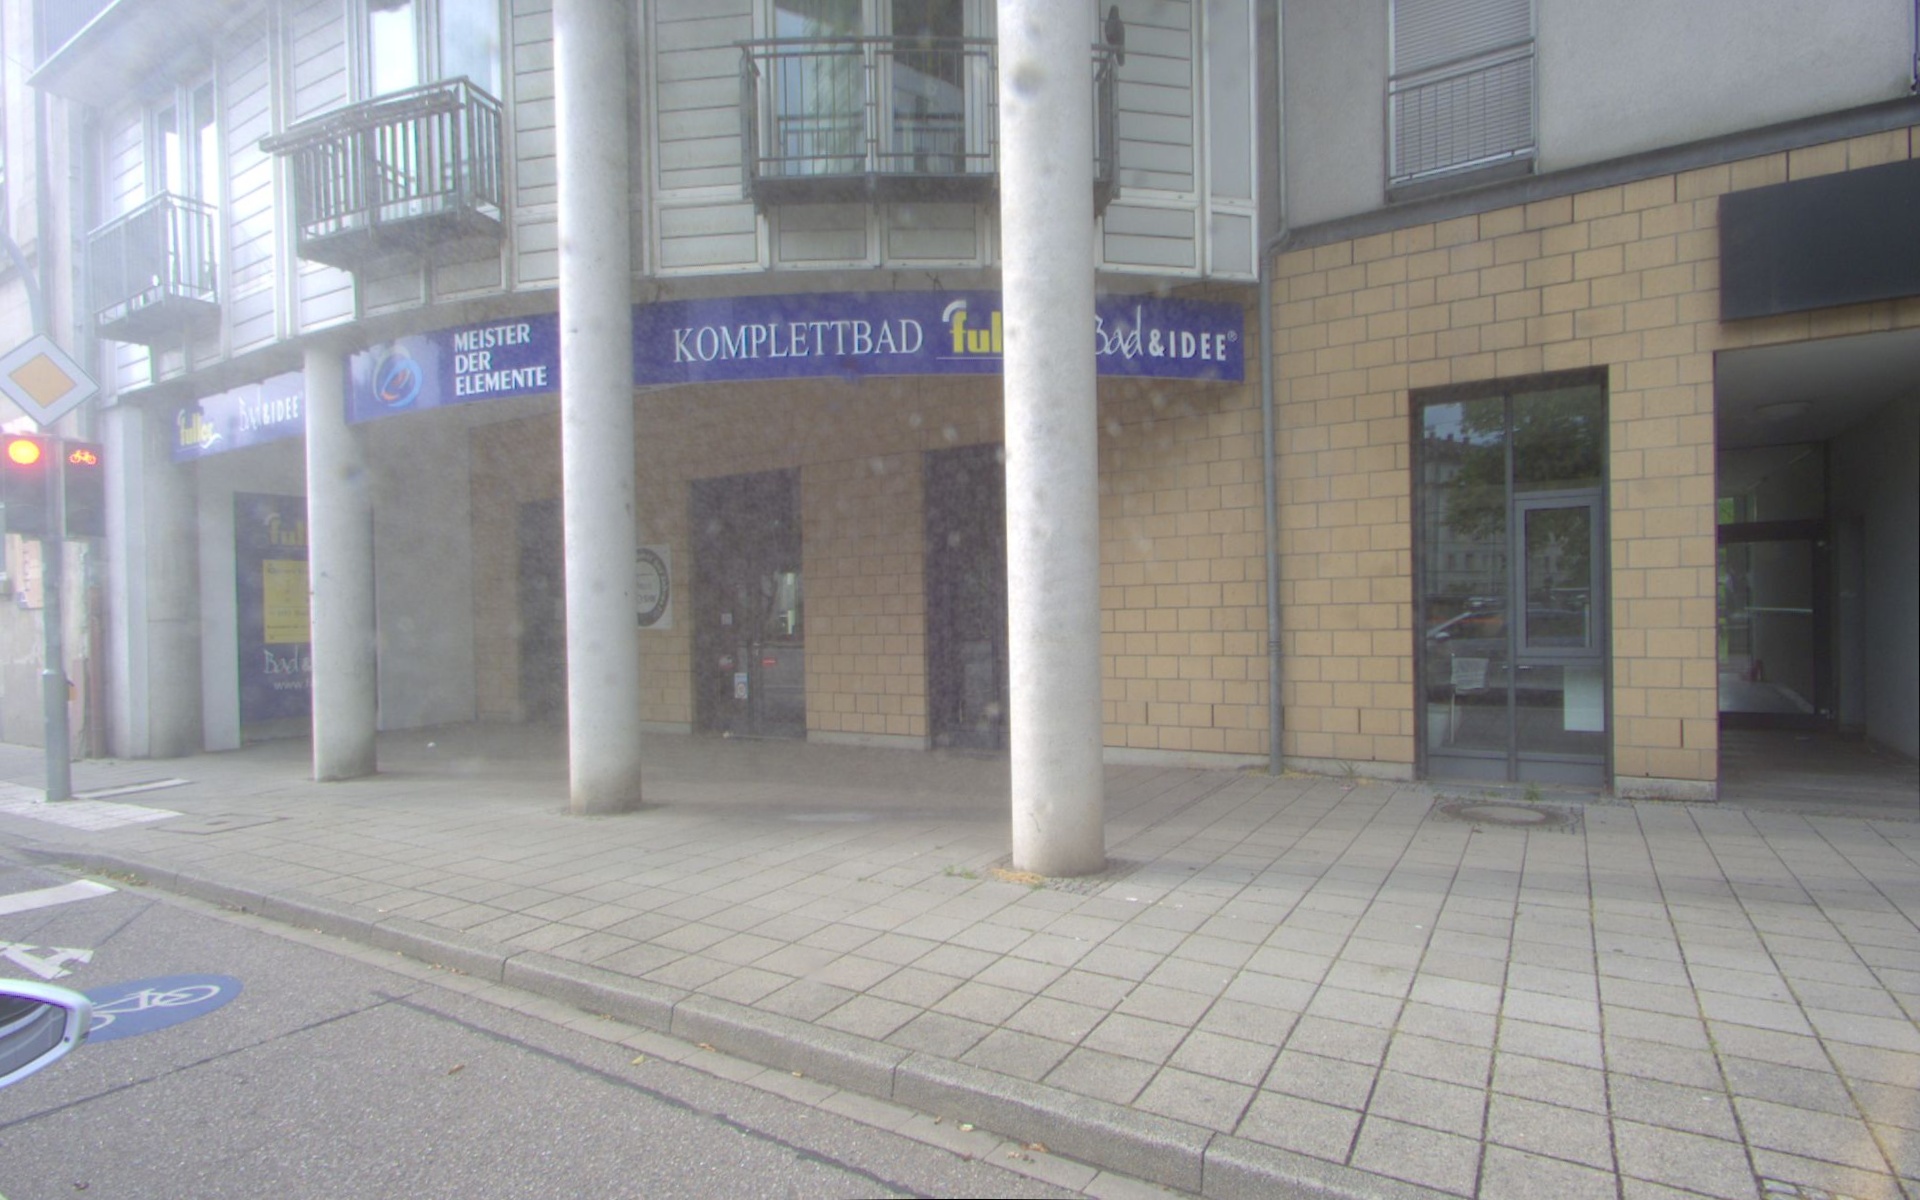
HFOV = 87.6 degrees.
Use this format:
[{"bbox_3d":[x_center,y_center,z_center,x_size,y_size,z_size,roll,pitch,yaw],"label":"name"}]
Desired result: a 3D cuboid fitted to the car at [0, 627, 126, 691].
[{"bbox_3d":[-24.720,1.502,26.031,1.962,1.583,4.537,0,-1,8],"label":"car"}]
